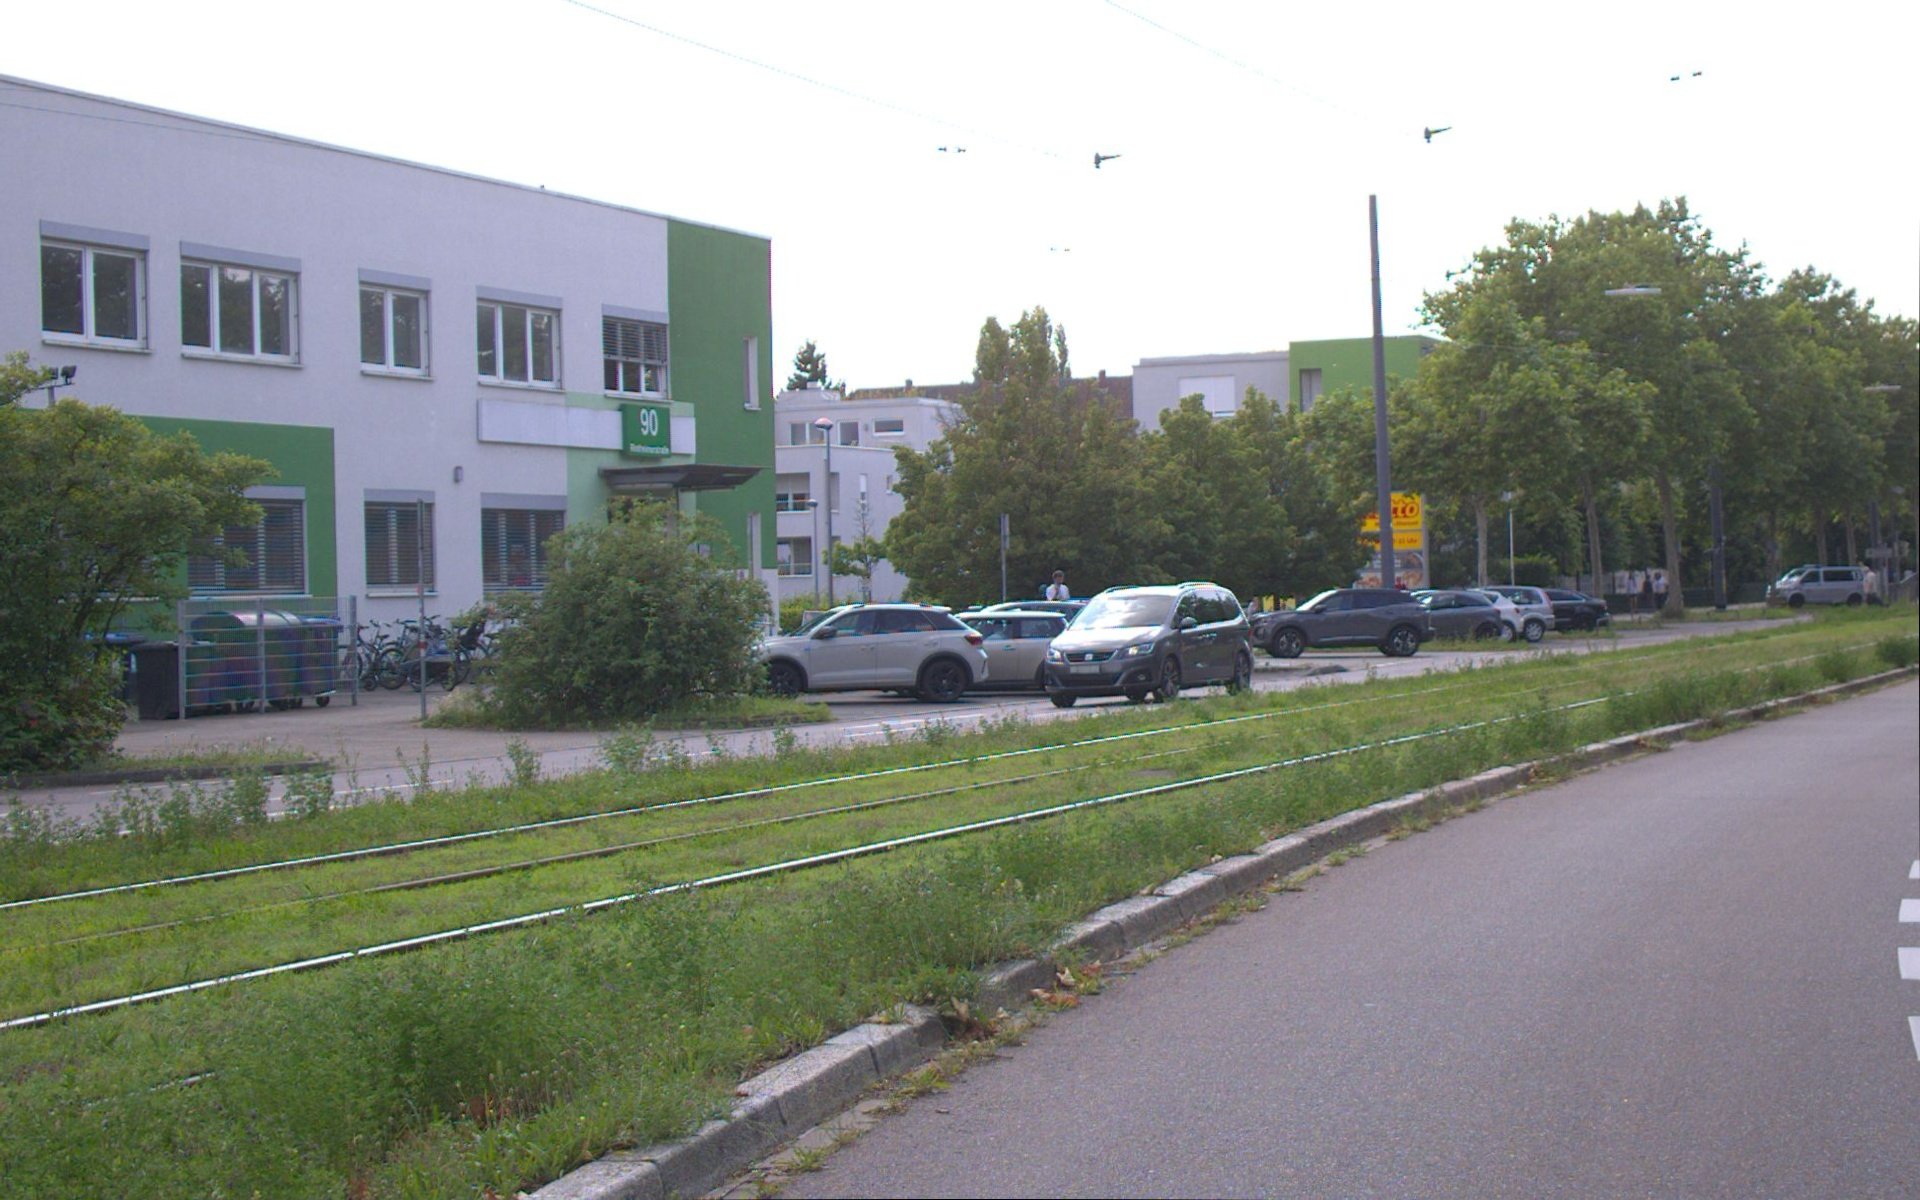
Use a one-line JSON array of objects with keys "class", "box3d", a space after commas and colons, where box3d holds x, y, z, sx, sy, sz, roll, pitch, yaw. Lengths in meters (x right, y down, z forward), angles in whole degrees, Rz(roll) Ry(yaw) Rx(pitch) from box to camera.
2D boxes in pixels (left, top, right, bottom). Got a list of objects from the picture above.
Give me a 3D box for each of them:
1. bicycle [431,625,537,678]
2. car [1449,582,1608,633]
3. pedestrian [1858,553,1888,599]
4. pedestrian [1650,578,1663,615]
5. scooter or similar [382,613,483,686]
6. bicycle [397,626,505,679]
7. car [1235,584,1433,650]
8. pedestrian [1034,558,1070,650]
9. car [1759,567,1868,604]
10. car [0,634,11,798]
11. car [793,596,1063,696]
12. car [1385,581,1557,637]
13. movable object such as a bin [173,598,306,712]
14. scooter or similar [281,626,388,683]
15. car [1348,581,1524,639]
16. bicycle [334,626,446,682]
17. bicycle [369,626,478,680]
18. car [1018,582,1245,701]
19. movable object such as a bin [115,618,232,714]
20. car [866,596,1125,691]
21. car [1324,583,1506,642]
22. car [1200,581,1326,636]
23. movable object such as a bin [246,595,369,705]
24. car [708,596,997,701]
[{"class": "bicycle", "box3d": [-8.348, 0.894, 60.253, 1.860, 0.896, 0.458, 0, 0, 22]}, {"class": "car", "box3d": [16.731, 0.211, 101.265, 4.220, 1.477, 1.884, 0, 0, -18]}, {"class": "pedestrian", "box3d": [31.002, -0.815, 116.724, 0.881, 1.520, 0.750, 0, 0, 21]}, {"class": "pedestrian", "box3d": [27.942, -0.129, 137.933, 0.421, 1.468, 0.467, -2, 0, 17]}, {"class": "scooter or similar", "box3d": [-8.528, 0.796, 55.542, 1.091, 1.152, 1.306, 1, 0, -39]}, {"class": "bicycle", "box3d": [-8.781, 0.903, 59.289, 1.860, 0.896, 0.458, 0, 0, 22]}, {"class": "car", "box3d": [8.510, 0.375, 78.439, 4.221, 1.477, 1.883, 0, 0, -3]}, {"class": "pedestrian", "box3d": [1.831, 0.079, 68.549, 0.546, 1.822, 0.508, -2, 0, 20]}, {"class": "car", "box3d": [40.073, -0.687, 161.356, 4.611, 1.627, 1.884, -2, 0, -17]}, {"class": "car", "box3d": [-10.596, 1.052, 28.960, 4.636, 1.402, 1.883, -2, -1, 2]}, {"class": "car", "box3d": [-0.552, 0.739, 56.713, 4.220, 1.477, 1.884, -2, 0, -7]}, {"class": "car", "box3d": [13.891, 0.242, 93.573, 4.220, 1.477, 1.884, 0, 0, -14]}, {"class": "movable object such as a bin", "box3d": [-10.135, 0.760, 48.403, 1.007, 1.514, 1.709, 0, 2, 24]}, {"class": "scooter or similar", "box3d": [-10.194, 0.887, 56.012, 1.737, 0.896, 0.458, 0, 0, 22]}, {"class": "car", "box3d": [12.563, 0.261, 90.834, 4.220, 1.477, 1.884, 0, 0, -14]}, {"class": "bicycle", "box3d": [-9.516, 0.894, 57.382, 1.860, 0.896, 0.458, 0, 0, 22]}, {"class": "bicycle", "box3d": [-9.120, 0.899, 58.456, 1.860, 0.896, 0.458, 0, 0, 22]}, {"class": "car", "box3d": [2.541, 0.577, 49.927, 1.995, 1.552, 4.365, -3, 0, 21]}, {"class": "movable object such as a bin", "box3d": [-10.743, 0.891, 46.996, 1.007, 1.230, 1.255, 0, 2, 24]}, {"class": "car", "box3d": [0.583, 0.731, 59.509, 4.220, 1.477, 1.884, -2, 0, -7]}, {"class": "car", "box3d": [11.646, 0.314, 88.094, 4.220, 1.477, 1.884, 0, 0, -14]}, {"class": "car", "box3d": [10.030, 0.276, 114.071, 1.994, 1.744, 3.999, 0, 1, -37]}, {"class": "movable object such as a bin", "box3d": [-9.473, 0.710, 49.963, 1.007, 1.514, 1.602, 0, 2, 24]}, {"class": "car", "box3d": [-1.705, 0.748, 53.955, 4.220, 1.477, 1.884, -2, 0, -12]}]
